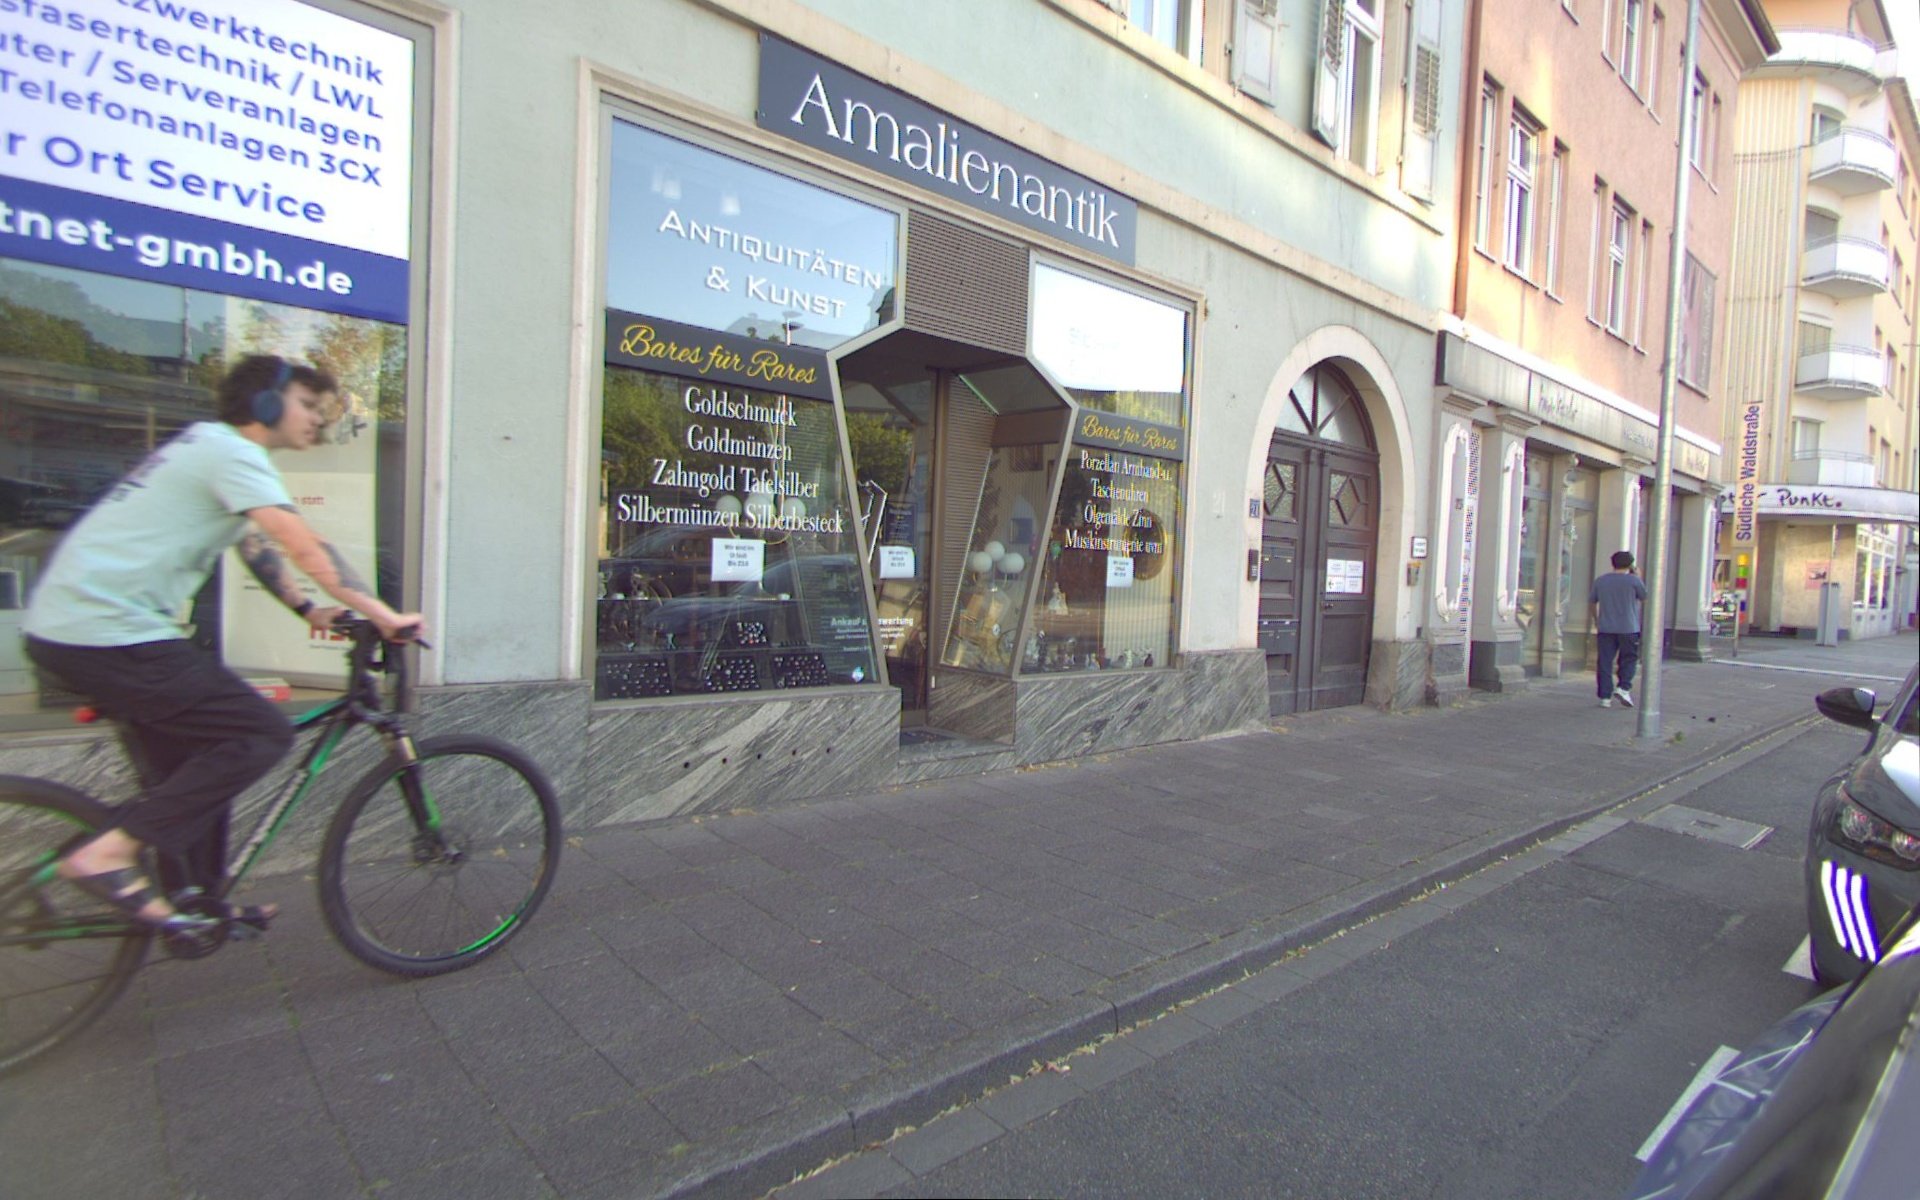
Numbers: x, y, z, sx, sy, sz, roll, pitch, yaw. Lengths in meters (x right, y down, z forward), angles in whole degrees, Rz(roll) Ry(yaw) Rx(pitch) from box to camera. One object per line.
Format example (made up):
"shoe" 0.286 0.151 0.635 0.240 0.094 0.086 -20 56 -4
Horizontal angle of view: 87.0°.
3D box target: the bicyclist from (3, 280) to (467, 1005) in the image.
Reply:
"bicyclist" -1.900 0.078 2.691 0.884 1.526 0.723 1 2 -40

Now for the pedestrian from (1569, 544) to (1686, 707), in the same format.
"pedestrian" 7.247 0.243 10.989 0.857 1.662 0.824 0 3 -43

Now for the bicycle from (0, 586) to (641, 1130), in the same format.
"bicycle" -1.894 0.543 2.688 1.863 1.120 0.691 0 3 -42

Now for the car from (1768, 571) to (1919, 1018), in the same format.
"car" 5.179 0.672 4.354 4.372 1.464 1.907 0 2 -42
